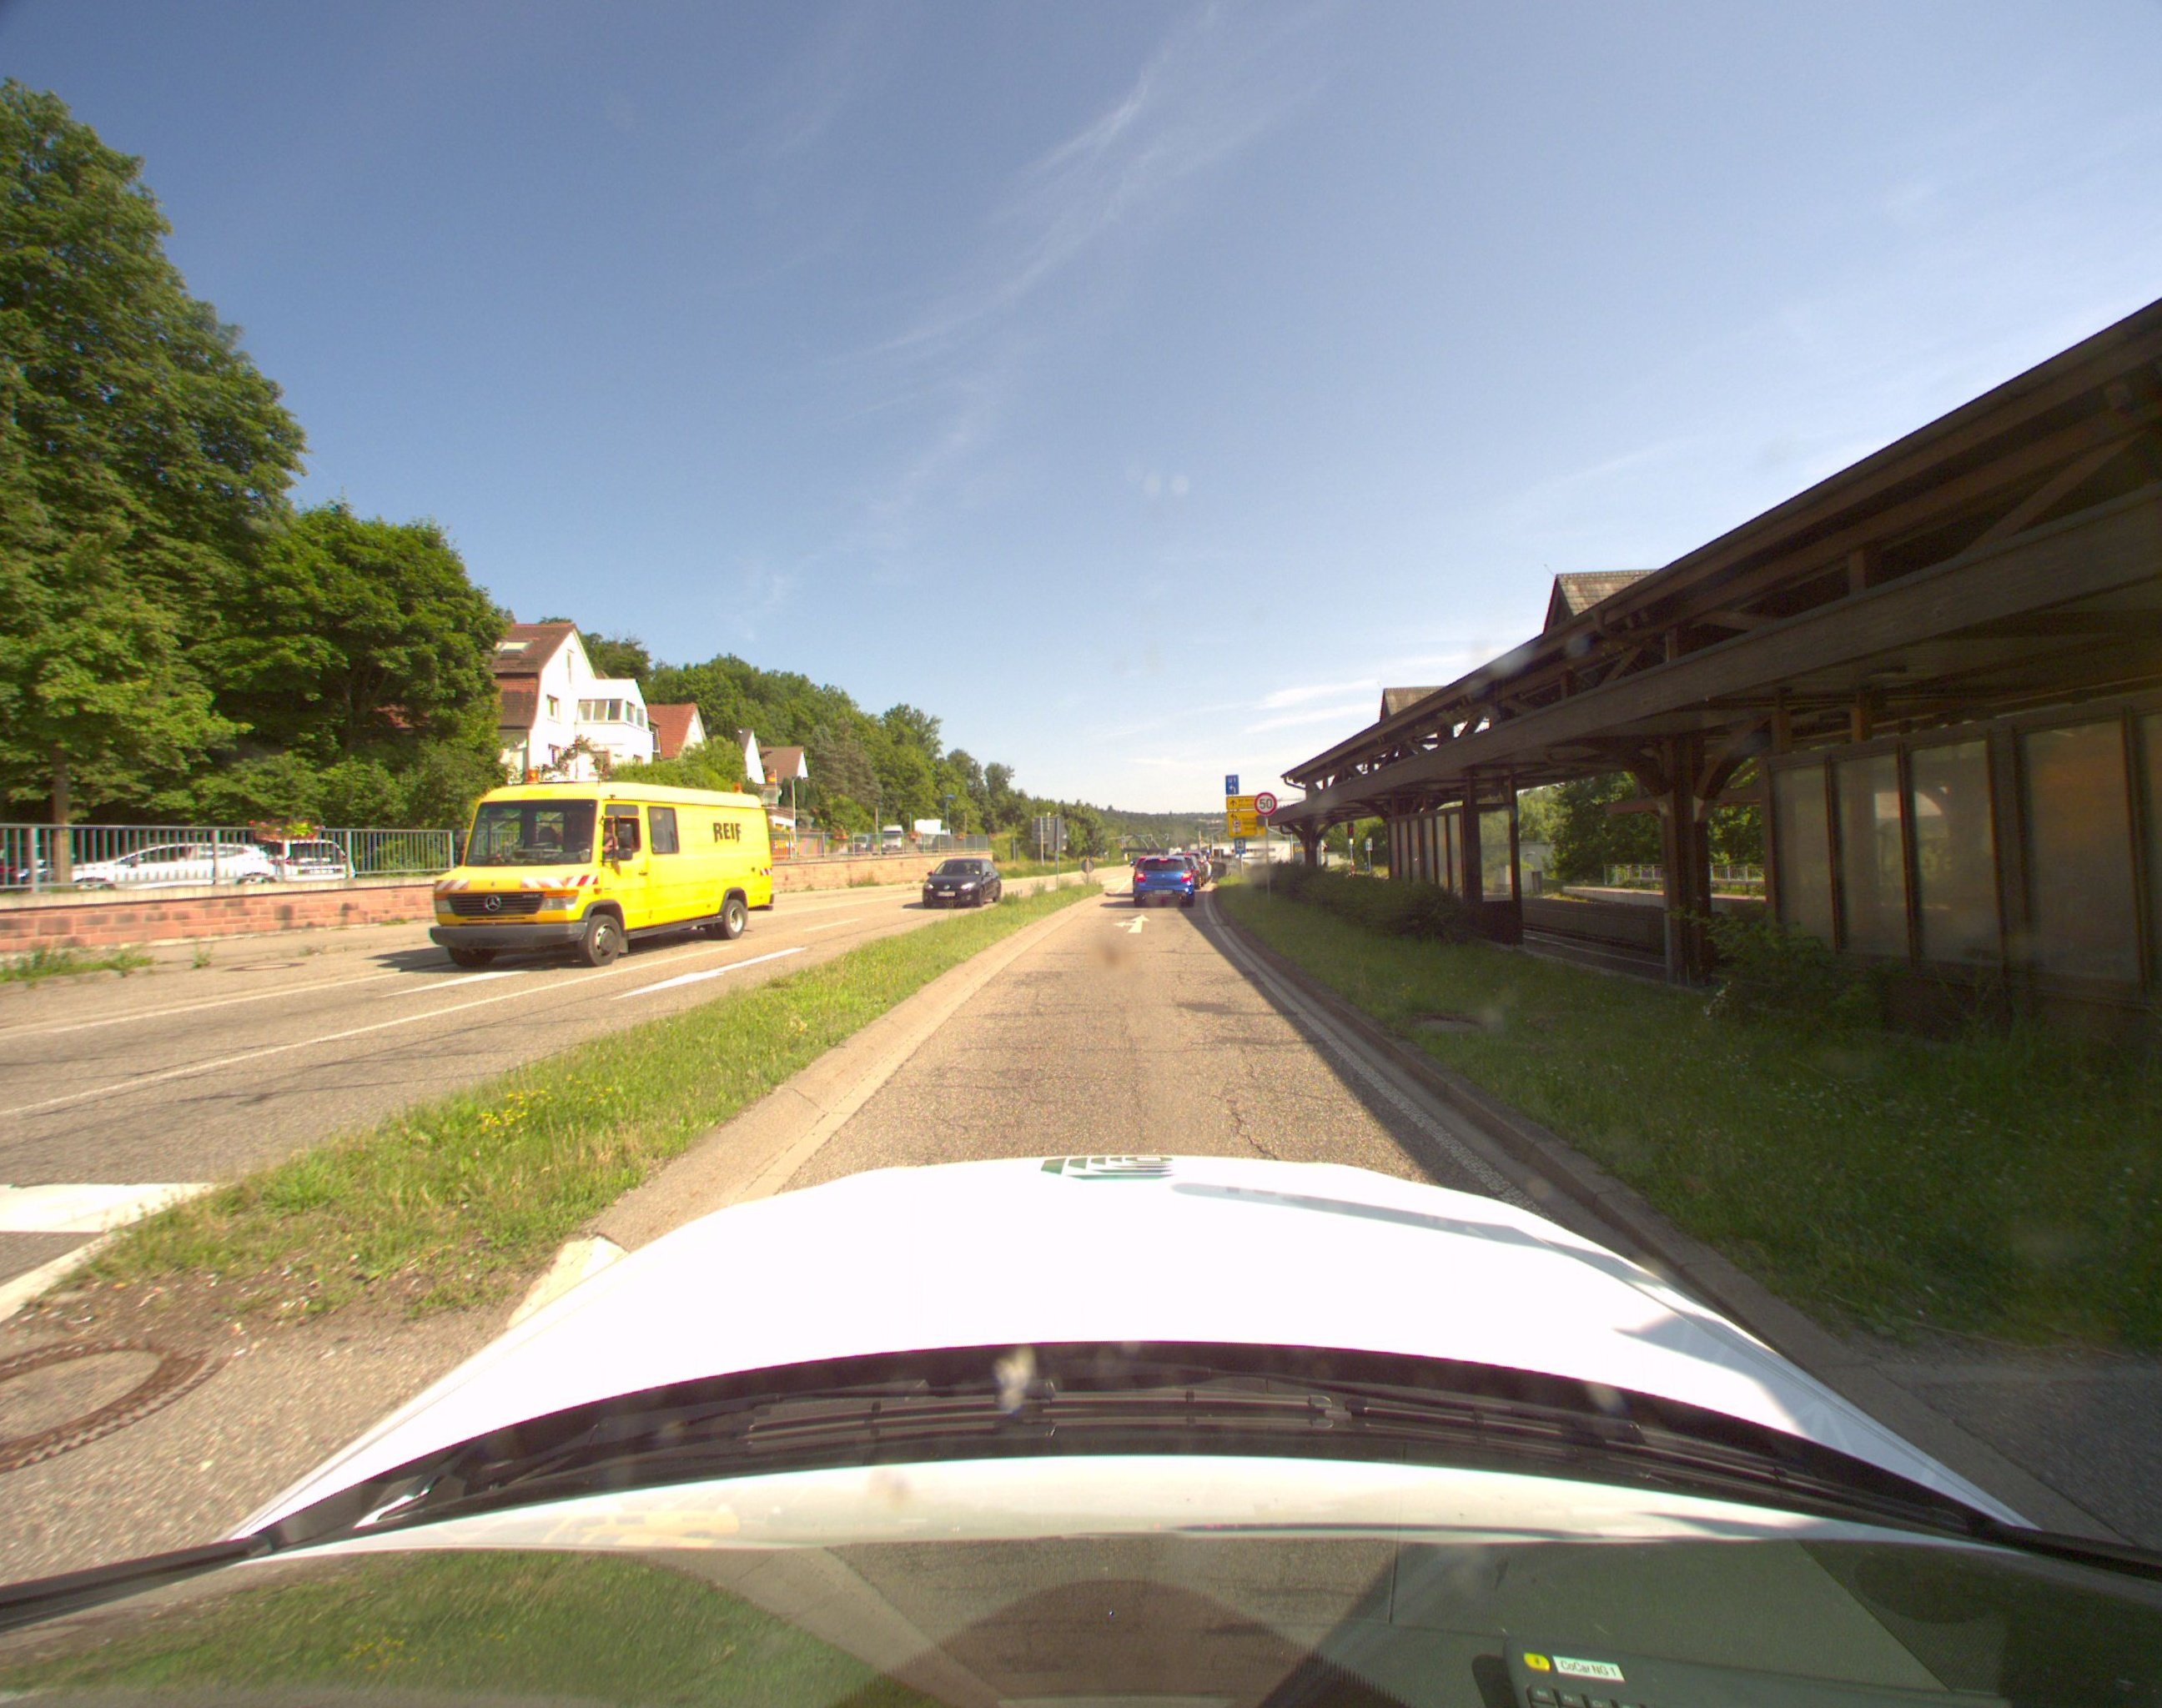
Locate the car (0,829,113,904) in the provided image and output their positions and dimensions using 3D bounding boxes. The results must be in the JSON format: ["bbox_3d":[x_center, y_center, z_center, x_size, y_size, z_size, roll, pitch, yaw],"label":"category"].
[{"bbox_3d":[-25.975,0.239,20.347,3.949,1.671,2.013,2,1,36],"label":"car"}]

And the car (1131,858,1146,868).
[{"bbox_3d":[8.296,1.274,117.321,1.781,1.470,4.728,0,0,9],"label":"car"}]

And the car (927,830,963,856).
[{"bbox_3d":[-10.842,-0.906,65.371,2.014,1.920,4.731,1,1,0],"label":"car"}]

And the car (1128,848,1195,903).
[{"bbox_3d":[2.455,0.596,24.797,1.859,1.548,4.007,0,0,6],"label":"car"}]

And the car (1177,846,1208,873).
[{"bbox_3d":[7.599,0.352,55.399,1.982,1.736,4.009,1,0,8],"label":"car"}]

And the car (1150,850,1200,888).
[{"bbox_3d":[4.175,0.617,35.633,1.982,1.531,4.612,-1,0,8],"label":"car"}]

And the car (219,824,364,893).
[{"bbox_3d":[-23.798,0.078,24.551,3.950,1.875,1.925,2,1,27],"label":"car"}]

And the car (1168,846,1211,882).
[{"bbox_3d":[5.567,0.497,41.613,1.982,1.686,4.507,1,0,8],"label":"car"}]

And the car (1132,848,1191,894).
[{"bbox_3d":[3.062,0.615,30.445,1.982,1.571,4.009,1,0,8],"label":"car"}]

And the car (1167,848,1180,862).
[{"bbox_3d":[14.353,0.151,126.676,1.983,2.144,4.728,1,0,7],"label":"car"}]

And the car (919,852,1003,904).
[{"bbox_3d":[-3.600,0.683,25.035,1.738,1.462,4.047,-1,0,3],"label":"car"}]

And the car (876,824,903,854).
[{"bbox_3d":[-16.543,-1.346,70.516,2.095,2.444,5.762,1,1,-12],"label":"car"}]

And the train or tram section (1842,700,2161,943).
[{"bbox_3d":[16.292,-0.415,10.125,2.745,3.364,12.055,1,0,2],"label":"train or tram section"}]

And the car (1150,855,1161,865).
[{"bbox_3d":[14.375,1.186,157.843,1.983,1.783,4.007,1,0,7],"label":"car"}]

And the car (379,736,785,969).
[{"bbox_3d":[-7.719,-0.019,13.888,2.455,3.011,6.475,1,0,5],"label":"car"}]

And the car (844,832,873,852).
[{"bbox_3d":[-19.098,-1.025,70.012,1.894,1.629,3.987,0,0,-9],"label":"car"}]

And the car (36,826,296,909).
[{"bbox_3d":[-22.211,0.297,19.930,1.897,1.789,4.025,-1,0,34],"label":"car"}]
